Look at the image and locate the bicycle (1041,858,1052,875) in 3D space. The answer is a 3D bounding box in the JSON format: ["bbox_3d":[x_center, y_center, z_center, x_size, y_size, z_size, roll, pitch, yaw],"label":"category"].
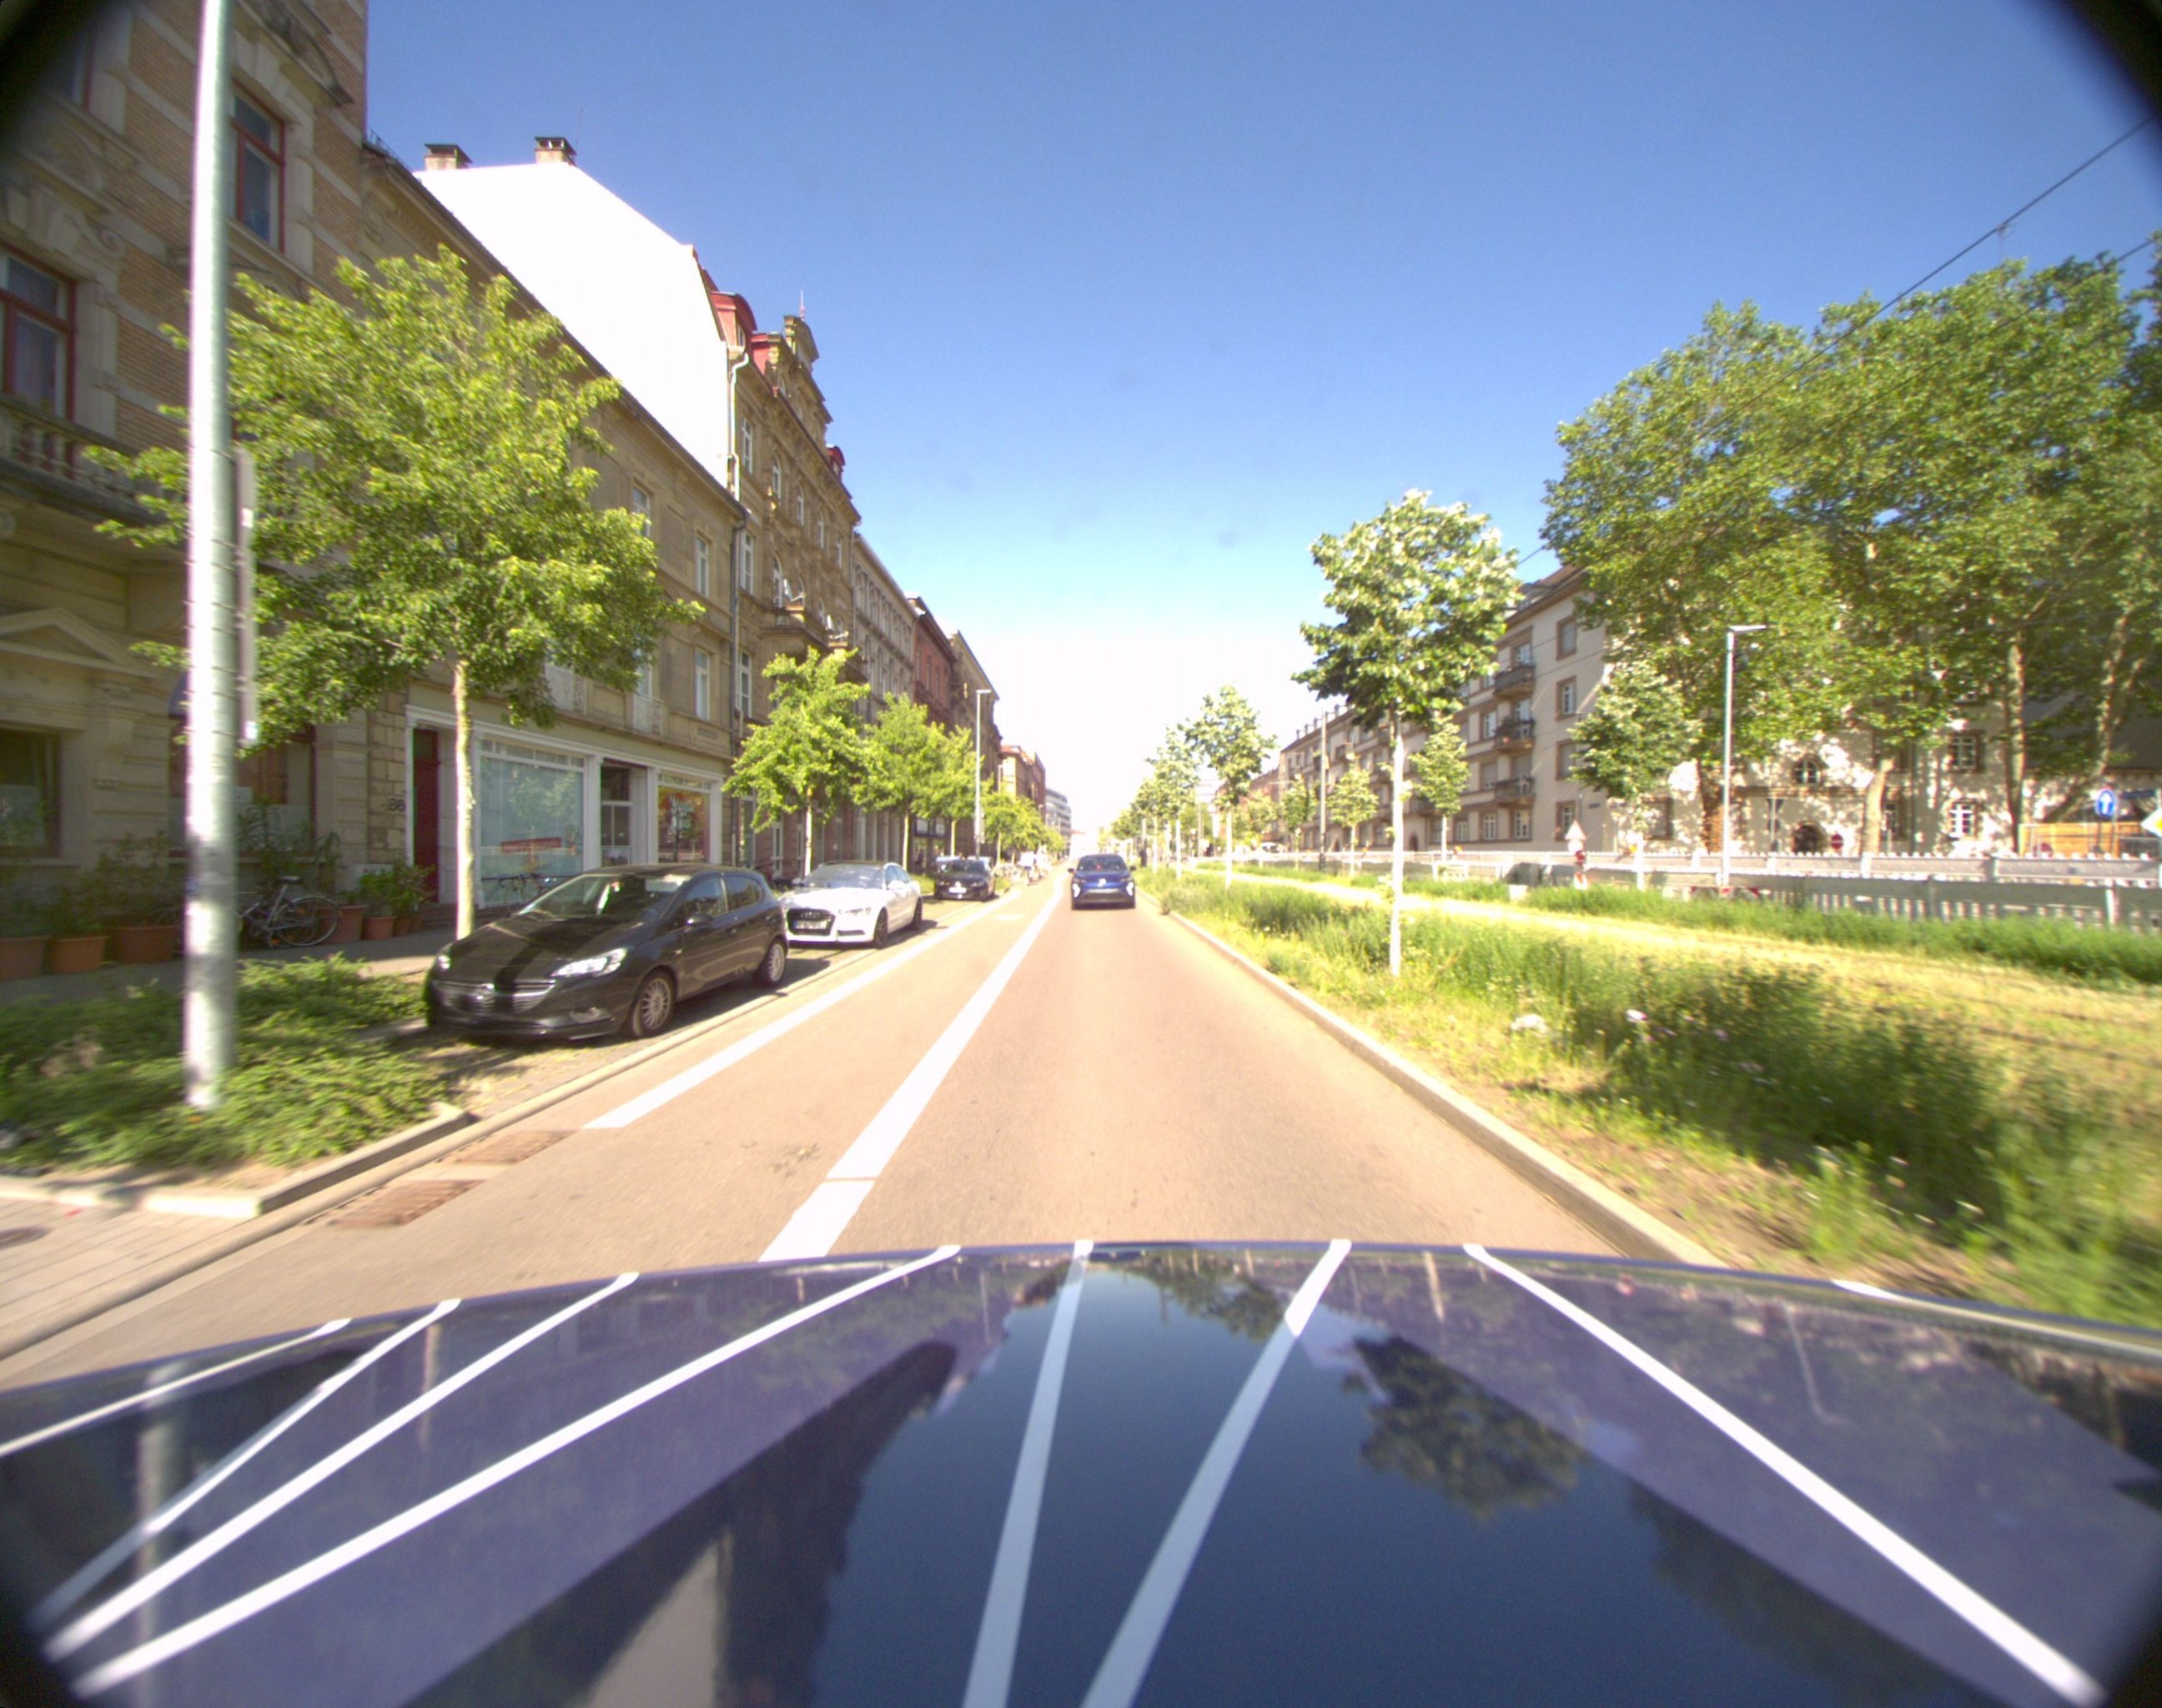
[{"bbox_3d":[-2.556,0.892,56.315,0.725,1.187,1.952,-1,0,1],"label":"bicycle"}]

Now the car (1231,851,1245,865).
[{"bbox_3d":[26.323,0.627,127.764,1.997,2.283,5.192,-1,1,9],"label":"car"}]

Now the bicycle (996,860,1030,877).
[{"bbox_3d":[-4.667,0.973,52.130,2.293,1.096,0.485,2,1,-14],"label":"bicycle"}]

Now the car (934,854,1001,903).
[{"bbox_3d":[-3.959,0.811,27.149,1.770,1.468,4.447,2,1,-2],"label":"car"}]

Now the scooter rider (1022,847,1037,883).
[{"bbox_3d":[-2.705,0.582,40.021,0.662,1.855,0.898,-1,1,1],"label":"scooter rider"}]

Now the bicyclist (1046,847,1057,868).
[{"bbox_3d":[-2.544,0.306,64.665,0.854,1.717,0.989,-1,1,0],"label":"bicyclist"}]

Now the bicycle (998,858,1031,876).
[{"bbox_3d":[-4.531,0.898,51.782,2.154,1.148,0.429,3,0,-13],"label":"bicycle"}]

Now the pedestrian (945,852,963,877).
[{"bbox_3d":[-8.522,0.709,51.020,0.973,1.629,0.992,1,0,1],"label":"pedestrian"}]

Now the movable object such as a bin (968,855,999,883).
[{"bbox_3d":[-5.121,0.809,40.049,1.274,1.454,1.645,-1,-2,6],"label":"movable object such as a bin"}]

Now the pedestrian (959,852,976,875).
[{"bbox_3d":[-7.759,0.654,51.814,0.952,1.557,1.080,1,0,0],"label":"pedestrian"}]

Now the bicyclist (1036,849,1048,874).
[{"bbox_3d":[-2.557,0.478,49.669,0.700,1.647,0.977,-1,1,0],"label":"bicyclist"}]

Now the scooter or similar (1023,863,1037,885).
[{"bbox_3d":[-2.692,1.039,40.008,0.647,1.151,1.150,-1,1,1],"label":"scooter or similar"}]

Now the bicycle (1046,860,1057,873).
[{"bbox_3d":[-2.531,1.055,64.667,0.830,1.000,1.952,-1,0,1],"label":"bicycle"}]

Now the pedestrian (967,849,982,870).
[{"bbox_3d":[-8.749,0.472,62.633,0.972,1.682,1.114,2,1,2],"label":"pedestrian"}]

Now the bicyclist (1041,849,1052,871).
[{"bbox_3d":[-2.562,0.442,56.388,0.725,1.595,0.895,-1,1,1],"label":"bicyclist"}]

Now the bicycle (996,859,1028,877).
[{"bbox_3d":[-4.597,0.930,50.700,2.049,1.100,0.610,3,1,-5],"label":"bicycle"}]

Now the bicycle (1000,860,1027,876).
[{"bbox_3d":[-4.752,0.960,53.640,1.820,1.050,0.571,2,1,-5],"label":"bicycle"}]

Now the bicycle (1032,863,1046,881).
[{"bbox_3d":[-2.472,1.072,44.766,0.725,1.000,1.952,-1,0,0],"label":"bicycle"}]

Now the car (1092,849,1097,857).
[{"bbox_3d":[4.578,-0.454,255.057,1.758,2.472,4.609,0,2,1],"label":"car"}]

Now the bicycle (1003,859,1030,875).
[{"bbox_3d":[-4.688,0.954,55.112,1.897,1.102,0.517,2,1,-4],"label":"bicycle"}]

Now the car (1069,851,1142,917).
[{"bbox_3d":[0.639,0.758,21.357,1.758,1.576,4.420,-2,0,1],"label":"car"}]

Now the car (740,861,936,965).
[{"bbox_3d":[-4.293,0.949,14.447,1.956,1.486,5.105,2,0,1],"label":"car"}]

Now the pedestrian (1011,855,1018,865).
[{"bbox_3d":[-7.705,0.696,87.734,0.719,1.176,0.881,0,1,0],"label":"pedestrian"}]

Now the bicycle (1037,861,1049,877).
[{"bbox_3d":[-2.493,0.992,49.883,0.725,1.000,1.952,-1,0,0],"label":"bicycle"}]

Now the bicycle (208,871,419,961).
[{"bbox_3d":[-10.744,0.818,10.785,0.723,1.084,2.198,1,0,1],"label":"bicycle"}]

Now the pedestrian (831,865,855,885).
[{"bbox_3d":[-10.319,0.896,32.957,0.873,0.814,0.979,-1,1,-13],"label":"pedestrian"}]

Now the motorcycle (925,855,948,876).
[{"bbox_3d":[-9.571,0.732,50.426,0.868,1.259,2.981,-1,1,1],"label":"motorcycle"}]

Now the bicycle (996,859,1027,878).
[{"bbox_3d":[-4.597,0.938,50.292,1.980,1.117,0.481,4,0,-5],"label":"bicycle"}]

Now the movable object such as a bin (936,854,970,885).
[{"bbox_3d":[-6.725,0.783,39.899,1.376,1.487,1.749,2,1,2],"label":"movable object such as a bin"}]

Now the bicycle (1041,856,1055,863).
[{"bbox_3d":[-4.973,0.858,115.341,2.062,1.036,0.847,3,1,0],"label":"bicycle"}]

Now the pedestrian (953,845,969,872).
[{"bbox_3d":[-8.808,0.327,55.838,0.891,1.909,1.098,2,1,6],"label":"pedestrian"}]

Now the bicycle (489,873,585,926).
[{"bbox_3d":[-10.905,0.884,15.309,0.448,0.939,2.012,-1,0,1],"label":"bicycle"}]

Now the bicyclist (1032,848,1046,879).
[{"bbox_3d":[-2.493,0.552,44.840,0.725,1.807,1.091,-1,1,0],"label":"bicyclist"}]

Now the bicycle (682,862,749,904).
[{"bbox_3d":[-10.495,0.802,21.918,0.878,1.098,2.181,3,0,-2],"label":"bicycle"}]

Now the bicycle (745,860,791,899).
[{"bbox_3d":[-10.271,0.816,24.981,0.750,1.194,1.801,1,1,1],"label":"bicycle"}]

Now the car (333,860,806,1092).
[{"bbox_3d":[-4.546,0.917,7.713,1.888,1.560,4.220,2,1,1],"label":"car"}]
